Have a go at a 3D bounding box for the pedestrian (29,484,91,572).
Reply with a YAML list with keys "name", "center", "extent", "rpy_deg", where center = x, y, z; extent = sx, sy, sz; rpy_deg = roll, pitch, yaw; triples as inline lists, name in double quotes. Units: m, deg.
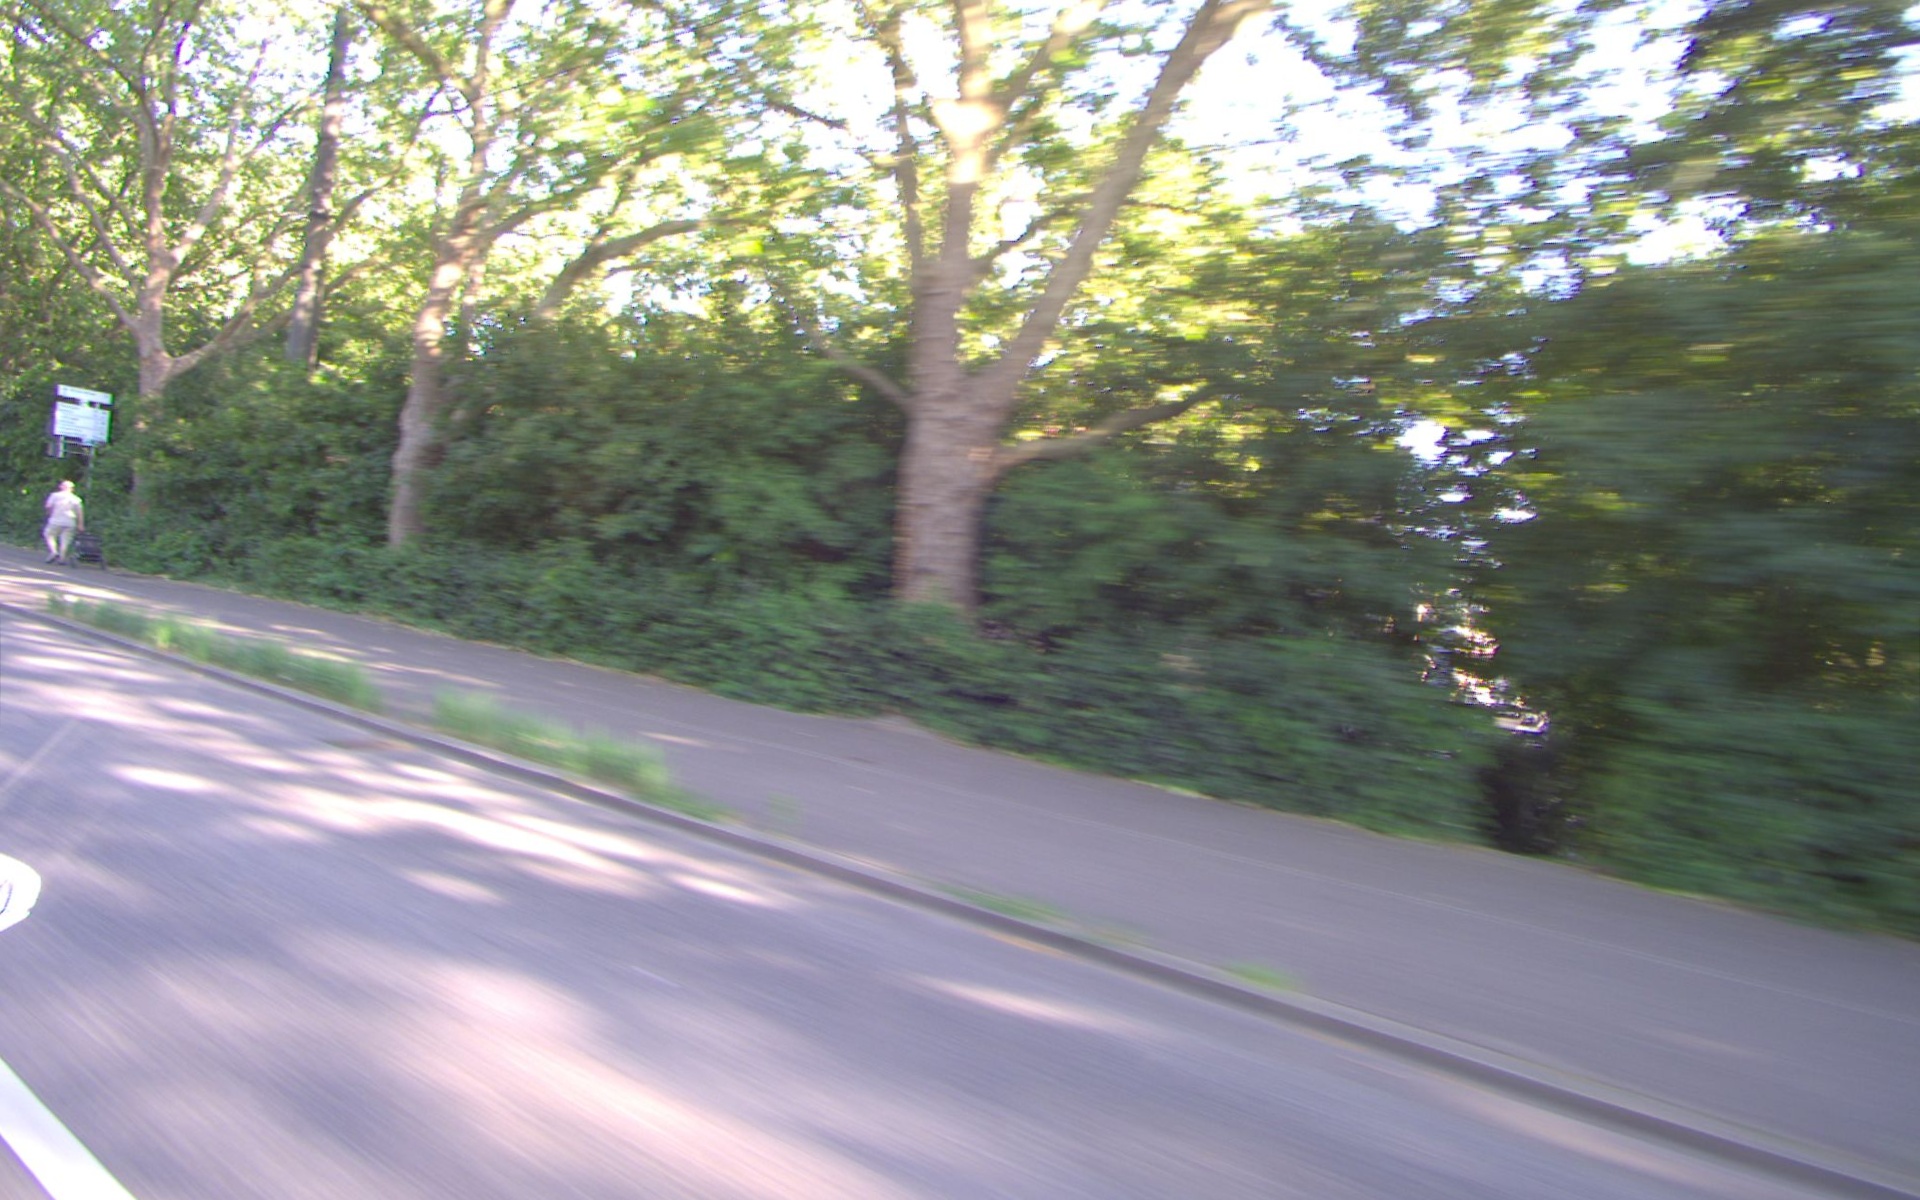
- name: "pedestrian"
  center: [-18.122, -1.441, 20.262]
  extent: [0.912, 1.658, 0.648]
  rpy_deg: [7, 3, 32]
